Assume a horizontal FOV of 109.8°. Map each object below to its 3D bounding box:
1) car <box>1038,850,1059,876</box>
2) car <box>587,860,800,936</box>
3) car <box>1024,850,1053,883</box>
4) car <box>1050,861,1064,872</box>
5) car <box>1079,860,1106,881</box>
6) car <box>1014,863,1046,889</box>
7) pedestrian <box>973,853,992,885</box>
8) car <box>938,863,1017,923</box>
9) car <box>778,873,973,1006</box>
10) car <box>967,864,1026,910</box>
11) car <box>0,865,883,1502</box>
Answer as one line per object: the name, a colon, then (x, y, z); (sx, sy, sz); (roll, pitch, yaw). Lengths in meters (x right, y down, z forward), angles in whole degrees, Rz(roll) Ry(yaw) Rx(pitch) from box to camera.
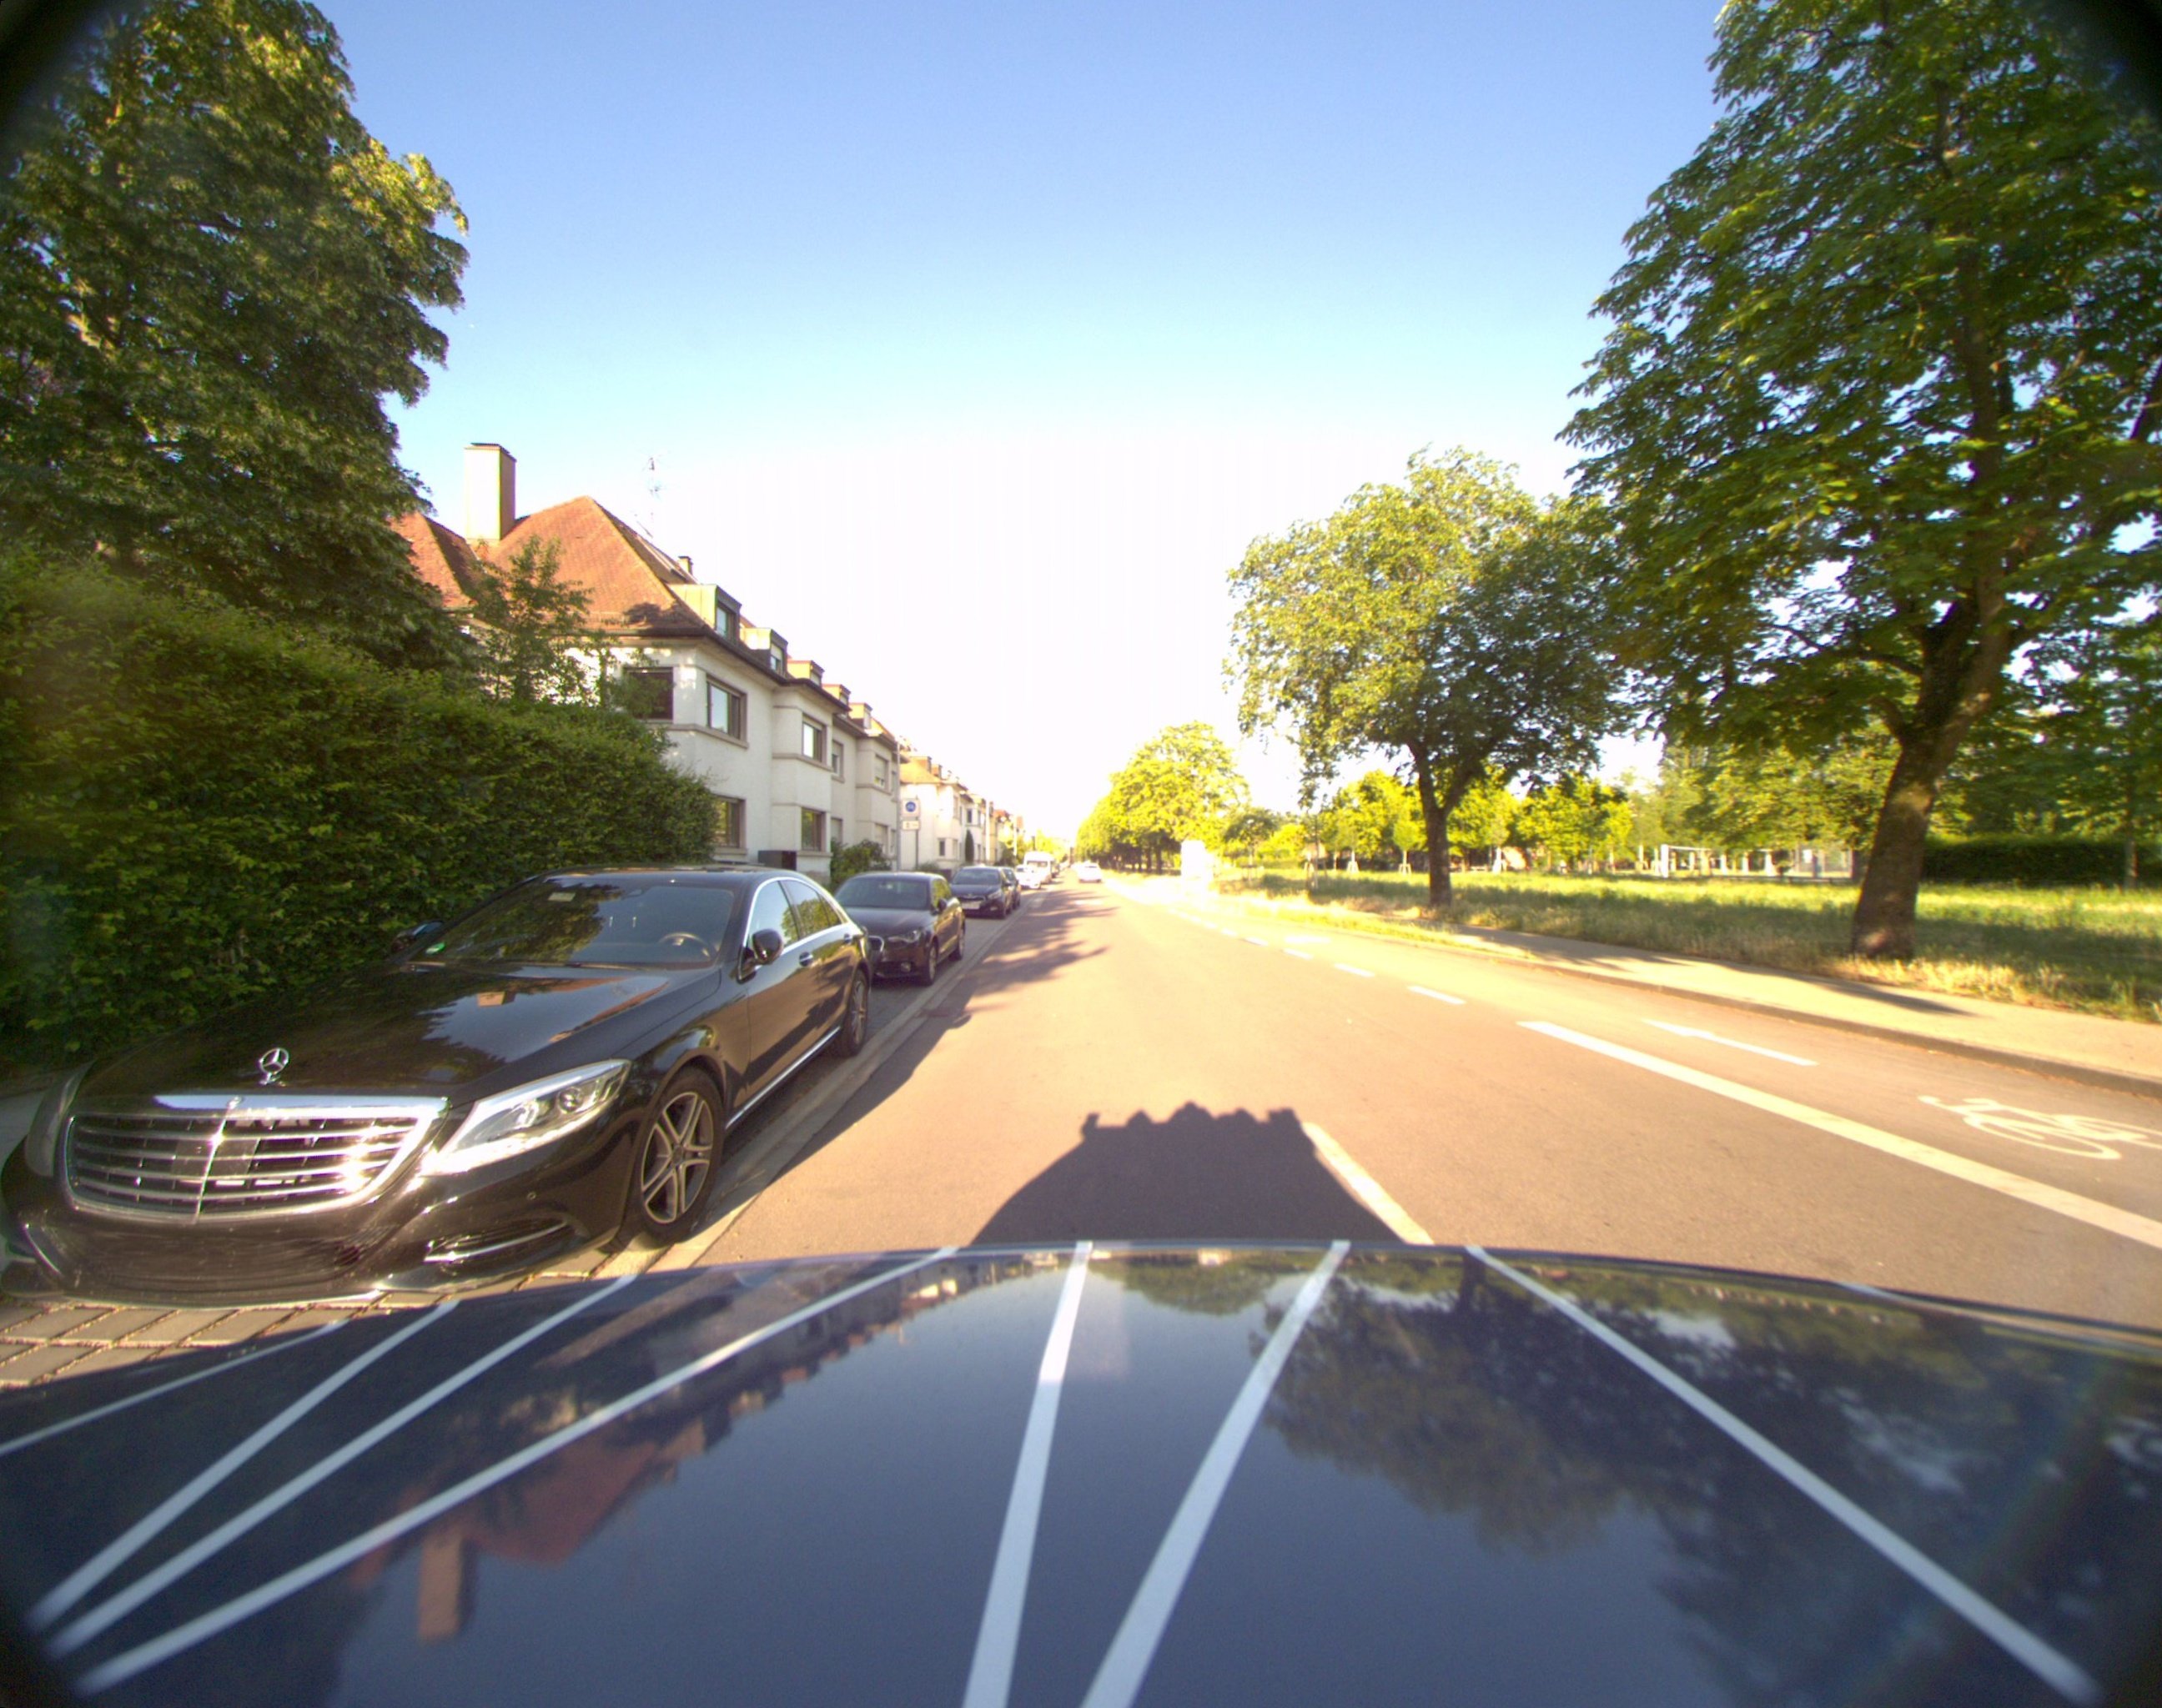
car: (-3.793, 1.083, 90.352); (2.134, 2.837, 5.987); (2, 0, 0)
car: (-8.216, 0.913, 16.382); (3.644, 1.487, 1.780); (1, 0, -5)
car: (-3.286, 0.963, 59.762); (2.135, 2.503, 5.507); (1, 0, -2)
car: (-3.654, 1.846, 116.665); (1.974, 1.630, 4.000); (2, 0, -1)
car: (0.951, 1.365, 64.597); (1.896, 1.667, 4.423); (-1, 0, -4)
car: (-3.082, 1.297, 46.578); (1.787, 1.498, 4.233); (-1, 0, -2)
pedestrian: (-6.369, 0.969, 49.061); (1.089, 2.002, 0.865); (0, 0, -16)
car: (-2.913, 1.056, 22.238); (1.751, 1.466, 4.255); (3, 0, -2)
car: (-2.644, 1.035, 10.719); (1.645, 1.419, 3.936); (1, 0, 0)
car: (-2.994, 1.132, 27.569); (1.723, 1.463, 3.983); (2, 0, -2)
car: (-2.619, 0.877, 4.348); (1.864, 1.533, 4.872); (1, 0, -3)
